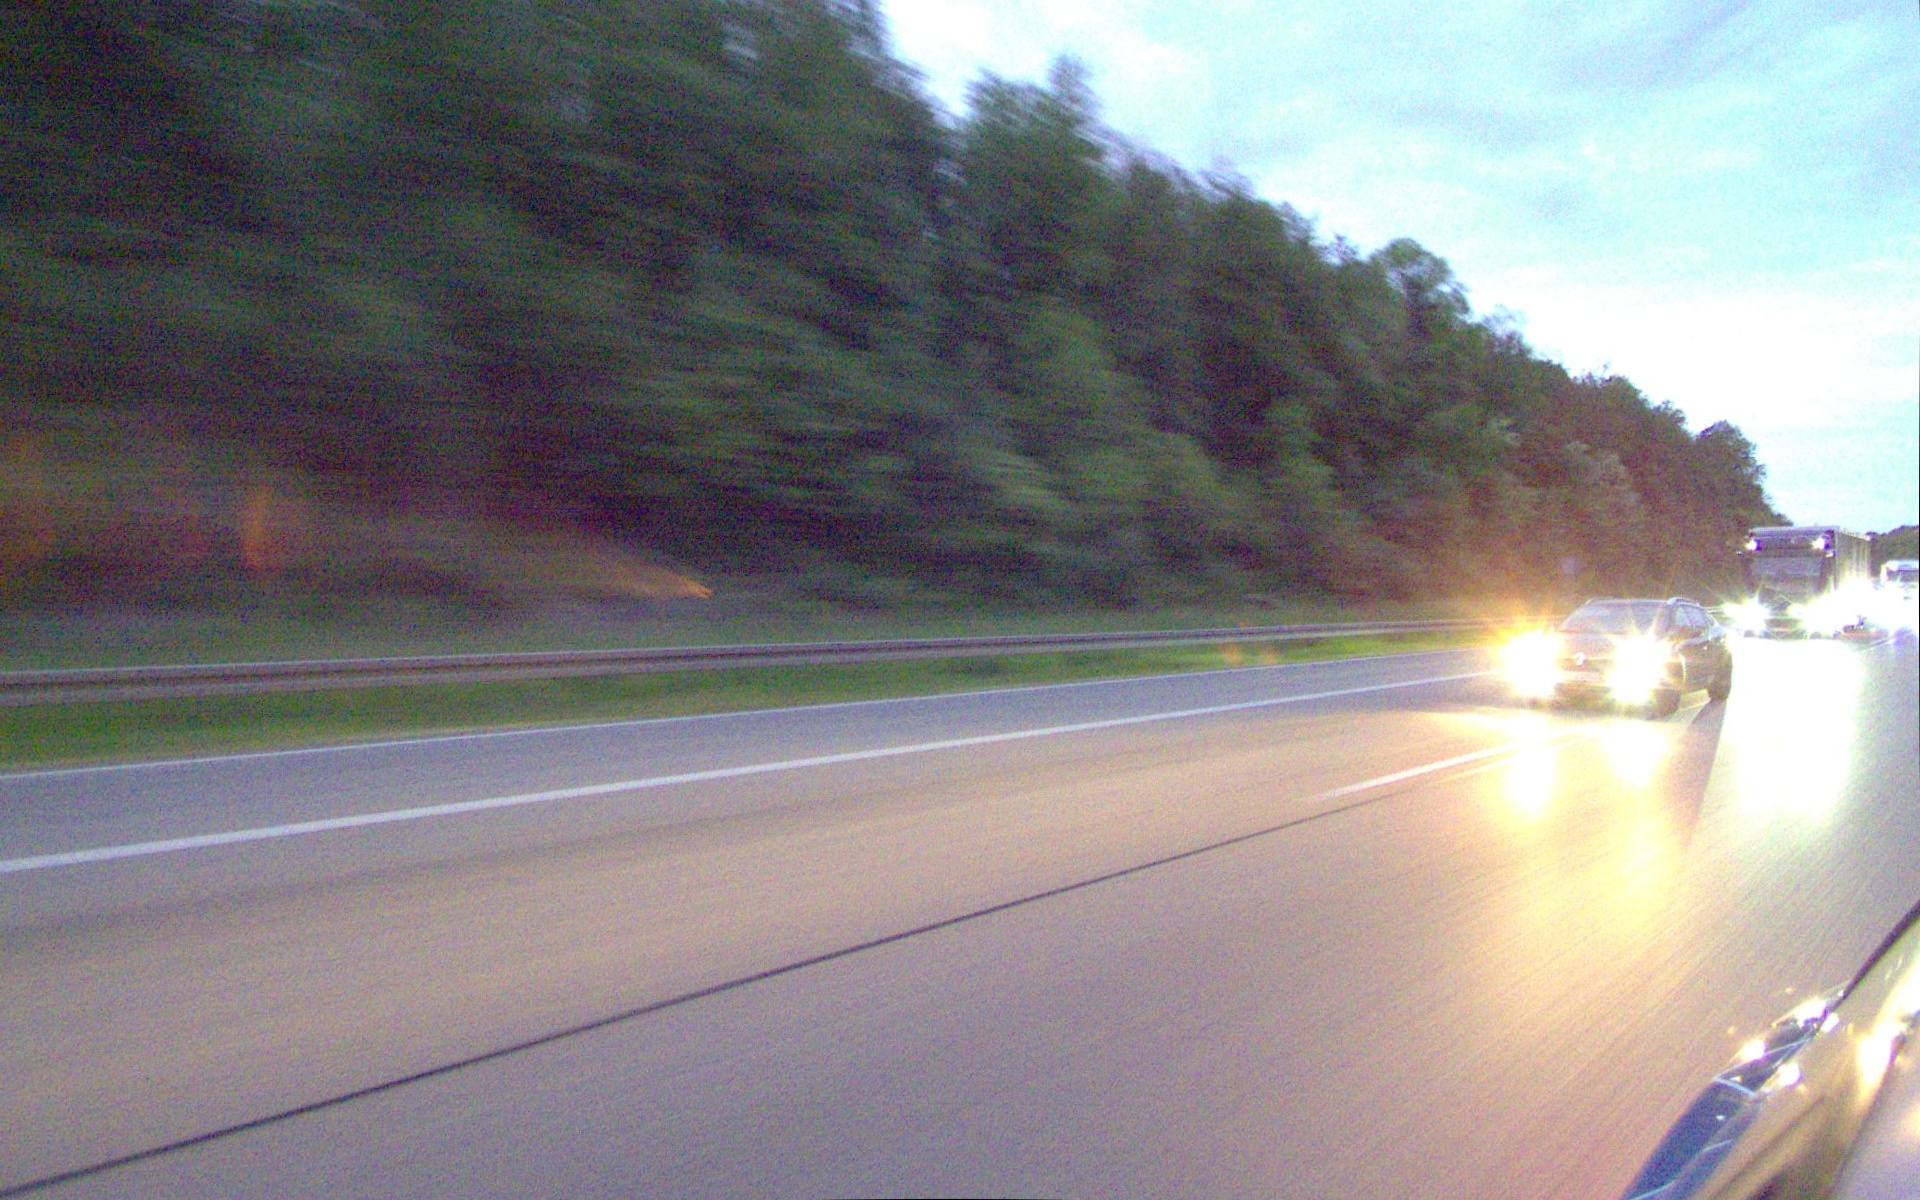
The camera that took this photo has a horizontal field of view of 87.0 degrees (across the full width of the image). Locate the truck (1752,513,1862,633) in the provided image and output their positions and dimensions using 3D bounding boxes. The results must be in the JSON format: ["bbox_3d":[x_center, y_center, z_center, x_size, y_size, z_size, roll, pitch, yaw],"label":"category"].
[{"bbox_3d":[30.851,-0.977,36.800,5.498,4.017,2.494,-2,1,-44],"label":"truck"}]

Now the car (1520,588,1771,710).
[{"bbox_3d":[10.034,0.604,14.656,4.860,1.509,1.695,0,0,-39],"label":"car"}]

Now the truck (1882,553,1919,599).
[{"bbox_3d":[87.942,-2.243,93.600,3.334,4.017,13.319,0,1,45],"label":"truck"}]

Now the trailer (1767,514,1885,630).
[{"bbox_3d":[35.743,-1.160,41.514,13.284,4.124,2.484,-2,1,-44],"label":"trailer"}]
